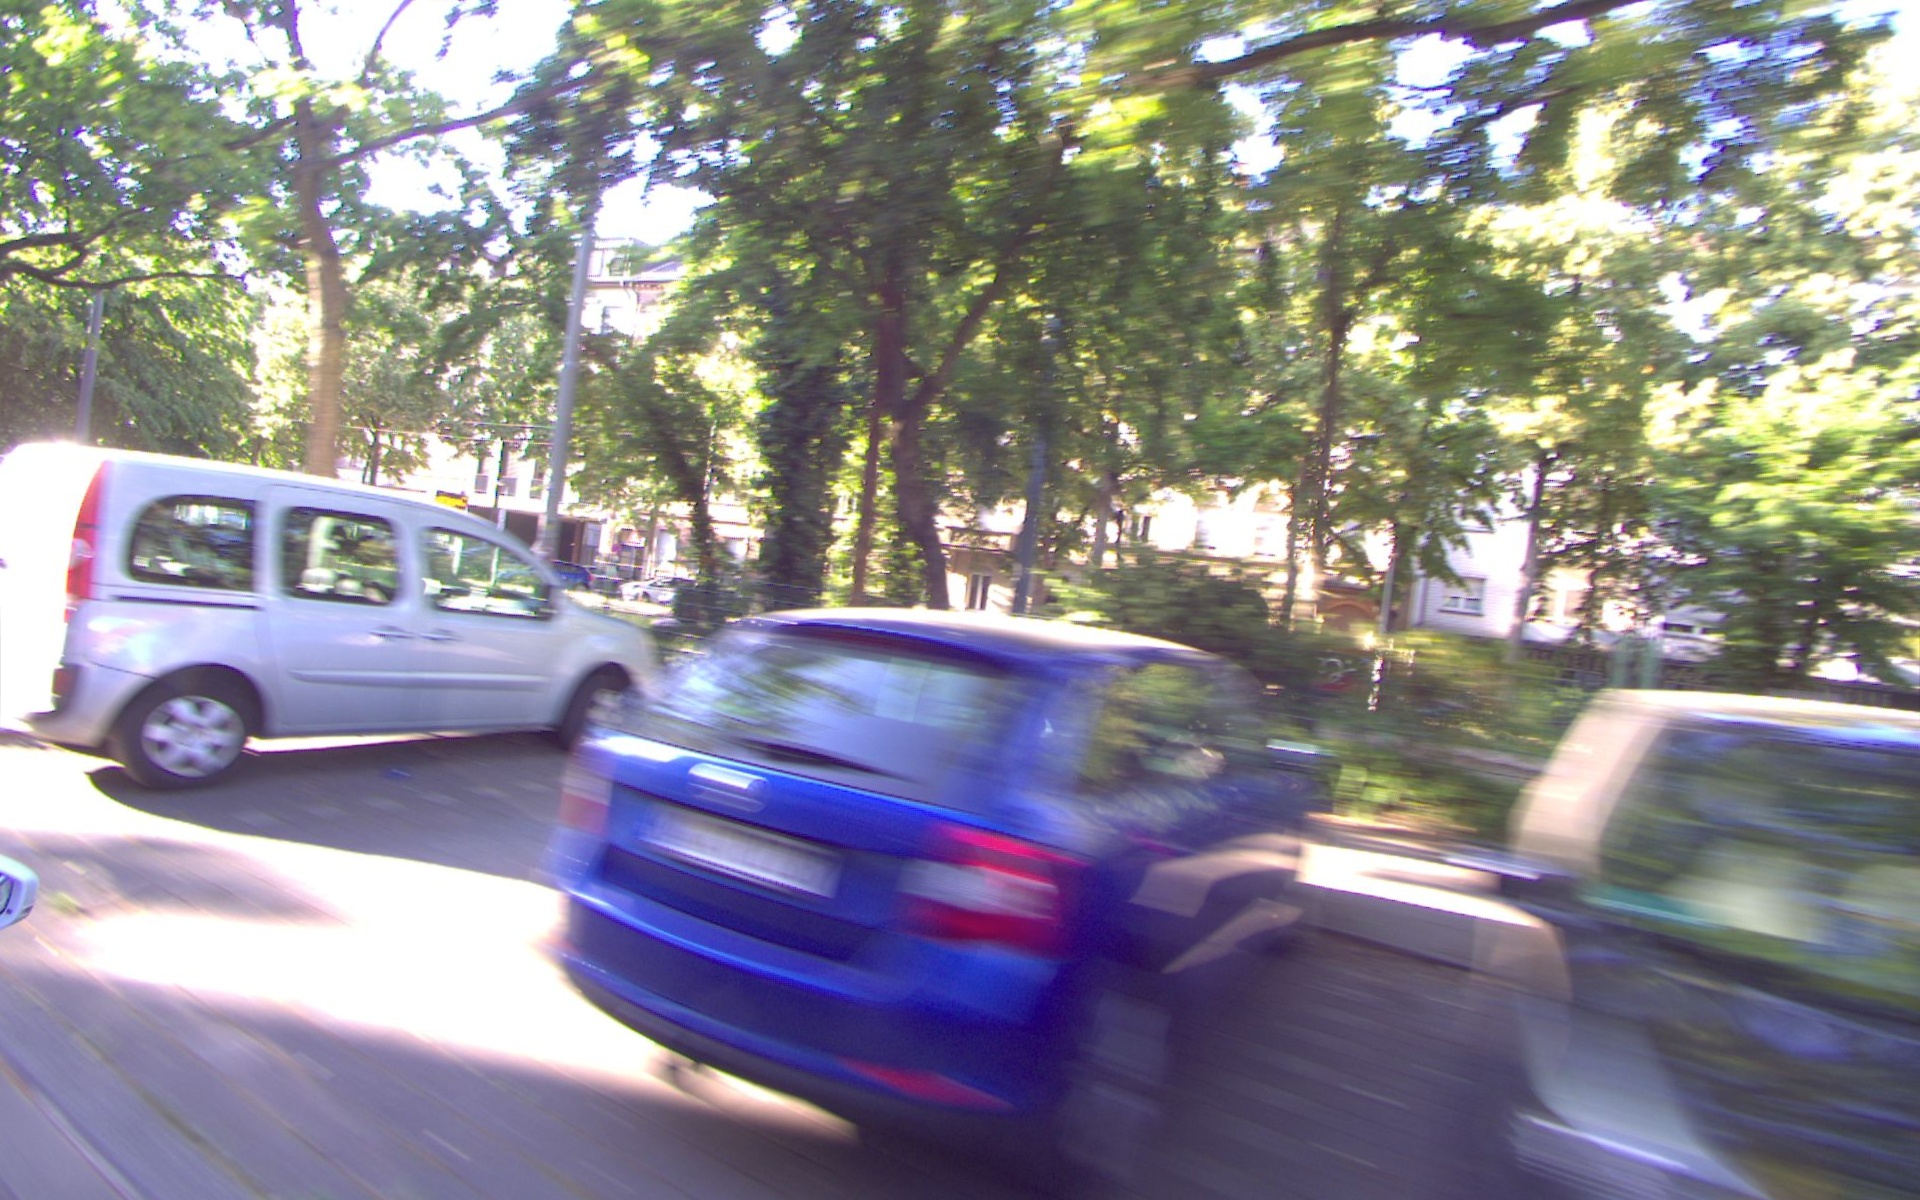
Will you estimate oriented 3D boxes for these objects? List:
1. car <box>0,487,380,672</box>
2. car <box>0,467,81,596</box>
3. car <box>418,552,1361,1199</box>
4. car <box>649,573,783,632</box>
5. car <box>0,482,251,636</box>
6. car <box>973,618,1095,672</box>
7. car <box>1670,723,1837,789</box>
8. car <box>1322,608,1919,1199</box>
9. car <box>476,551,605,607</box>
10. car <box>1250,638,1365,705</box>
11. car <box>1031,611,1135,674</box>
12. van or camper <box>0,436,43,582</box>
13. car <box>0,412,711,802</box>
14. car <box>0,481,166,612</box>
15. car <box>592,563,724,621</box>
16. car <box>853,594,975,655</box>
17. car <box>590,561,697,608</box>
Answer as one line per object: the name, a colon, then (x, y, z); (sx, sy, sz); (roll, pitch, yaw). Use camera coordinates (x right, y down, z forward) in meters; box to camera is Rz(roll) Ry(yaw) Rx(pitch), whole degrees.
car: (-7.966, -0.200, 9.218); (1.623, 1.471, 4.219); (7, 0, 36)
car: (-14.575, -1.123, 13.333); (1.829, 1.712, 3.989); (7, 0, 33)
car: (0.338, 0.803, 4.074); (1.731, 1.460, 4.087); (7, 0, 29)
car: (-9.729, 0.113, 40.244); (4.674, 1.702, 1.982); (9, -3, -35)
car: (-10.382, -0.529, 10.687); (1.834, 1.471, 4.222); (7, 0, 33)
car: (3.154, 1.923, 42.664); (4.650, 1.706, 2.003); (6, -3, 18)
car: (27.097, 5.313, 34.505); (3.923, 1.569, 2.003); (6, -3, 11)
car: (2.213, 0.969, 2.461); (1.733, 1.520, 3.677); (7, 0, 33)
car: (-17.941, -0.862, 43.113); (4.674, 1.702, 1.982); (9, -3, -35)
car: (13.323, 2.753, 38.763); (3.925, 2.036, 2.003); (6, -3, 17)
car: (4.306, 1.504, 34.765); (1.967, 1.702, 3.996); (5, -3, 32)
van or camper: (-18.228, -1.862, 15.851); (2.148, 2.403, 4.994); (5, -3, 30)
car: (-4.020, 0.085, 7.089); (1.733, 1.887, 4.222); (7, 0, 33)
car: (-12.451, -0.794, 12.203); (1.829, 1.479, 3.989); (7, 0, 33)
car: (-12.355, -0.293, 41.210); (4.674, 1.702, 1.982); (9, -3, -35)
car: (-1.652, 0.911, 37.044); (3.971, 1.702, 1.980); (9, -4, -39)
car: (-15.699, -0.783, 49.932); (4.650, 1.706, 2.003); (6, -3, 18)
